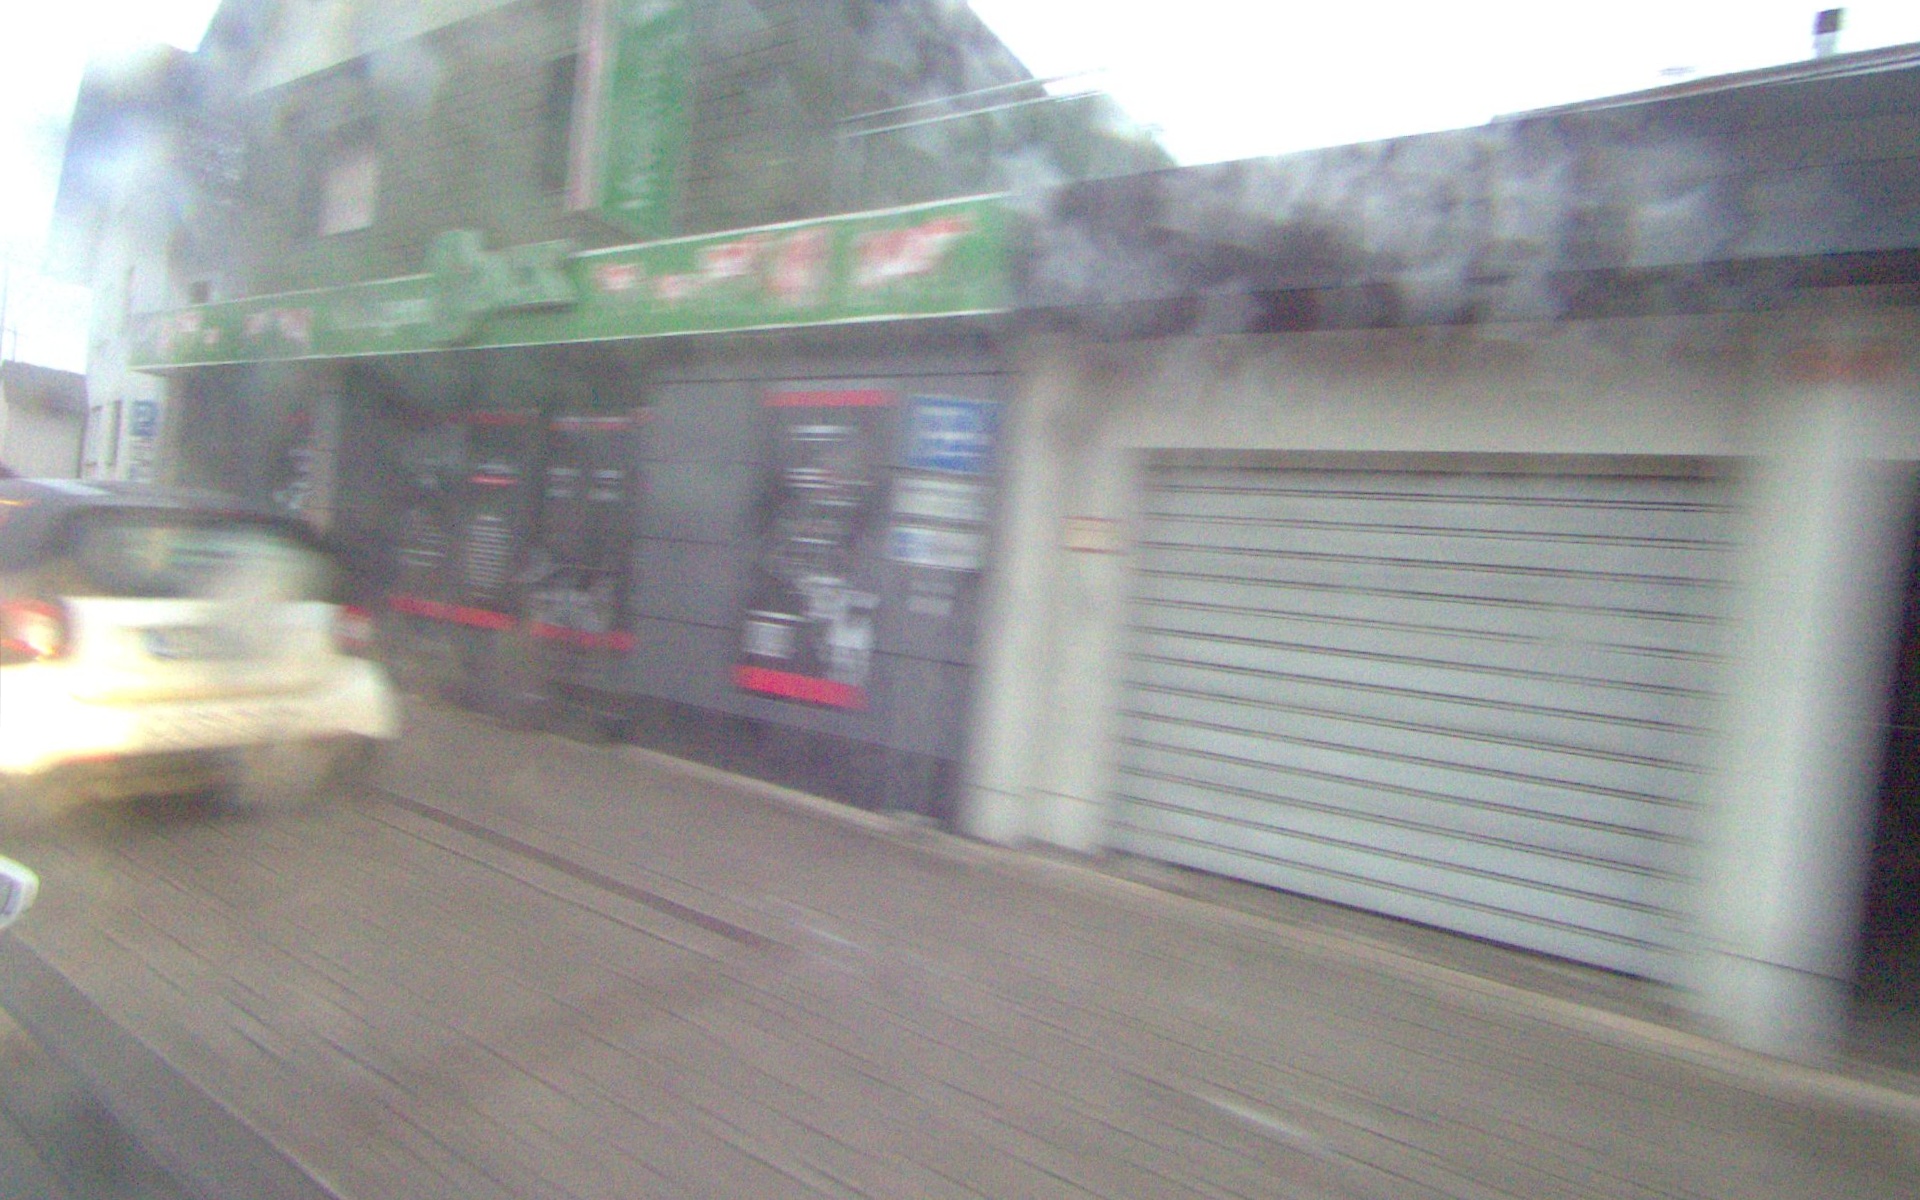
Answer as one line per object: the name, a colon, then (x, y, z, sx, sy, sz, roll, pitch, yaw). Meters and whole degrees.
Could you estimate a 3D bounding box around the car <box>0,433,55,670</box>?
car: (-9.228, -0.574, 8.388, 3.939, 1.806, 1.767, 7, 3, 37)

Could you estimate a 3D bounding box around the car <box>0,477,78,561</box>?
car: (-18.705, -1.667, 19.015, 3.846, 1.412, 1.767, 7, 2, 28)

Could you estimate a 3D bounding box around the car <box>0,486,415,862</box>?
car: (-4.466, 0.200, 5.315, 2.682, 1.435, 1.645, 8, 3, 33)
